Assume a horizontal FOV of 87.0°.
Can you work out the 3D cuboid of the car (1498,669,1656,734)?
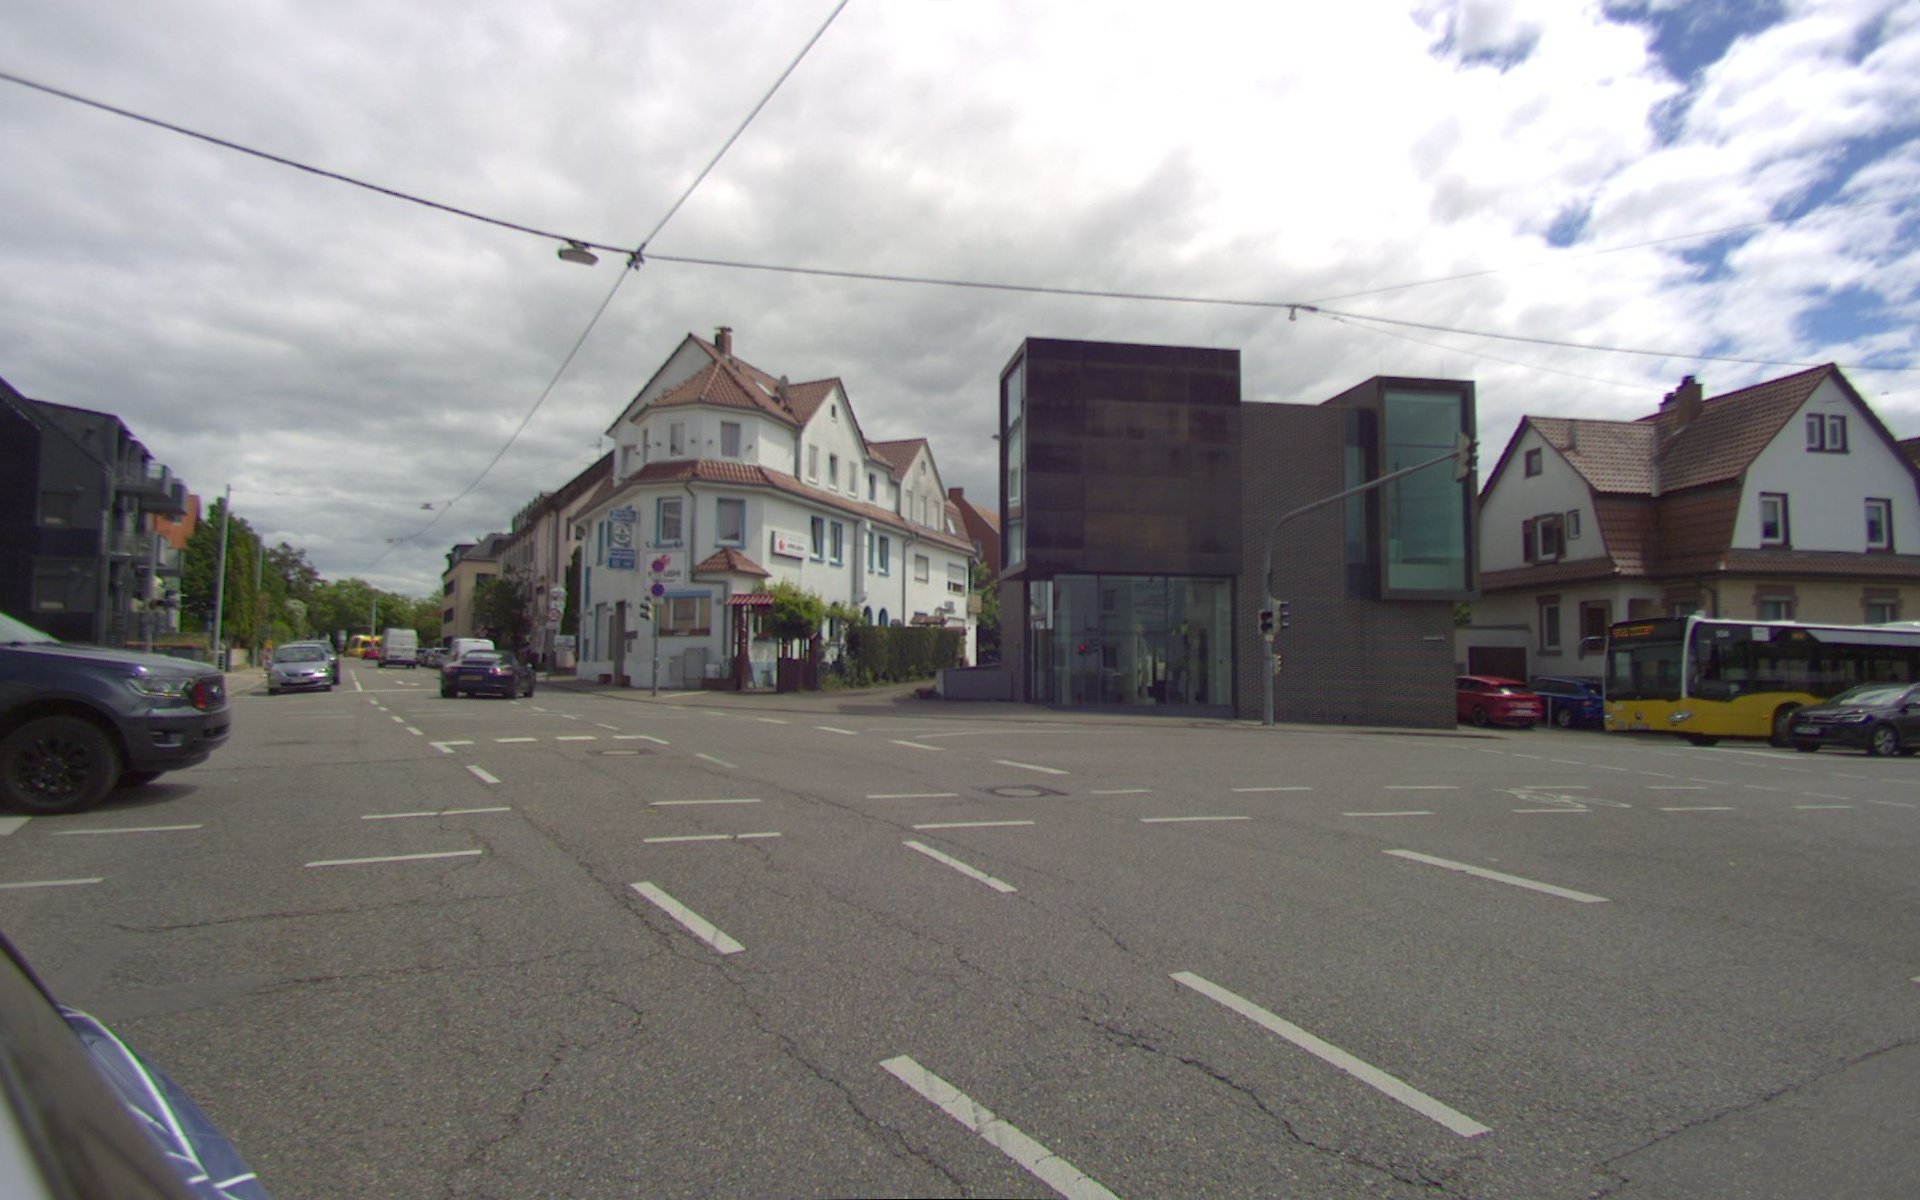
[{"bbox_3d":[19.037,3.108,31.467,1.967,1.697,4.009,2,-2,-12],"label":"car"}]

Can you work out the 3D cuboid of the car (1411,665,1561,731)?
[{"bbox_3d":[16.070,2.969,31.183,1.967,1.652,4.009,2,-1,-12],"label":"car"}]

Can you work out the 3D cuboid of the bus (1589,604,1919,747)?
[{"bbox_3d":[20.186,1.824,24.232,9.043,3.084,2.792,2,-3,-9],"label":"bus"}]

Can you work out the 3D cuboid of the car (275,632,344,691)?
[{"bbox_3d":[-24.016,2.255,37.414,1.966,2.029,4.011,3,-4,-32],"label":"car"}]

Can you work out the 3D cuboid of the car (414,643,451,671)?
[{"bbox_3d":[-39.485,4.253,75.751,1.966,2.029,4.010,3,-4,-34],"label":"car"}]

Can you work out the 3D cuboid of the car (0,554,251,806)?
[{"bbox_3d":[-8.766,0.578,7.763,5.130,1.863,1.894,3,-4,-25],"label":"car"}]

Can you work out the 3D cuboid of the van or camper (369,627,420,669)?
[{"bbox_3d":[-37.923,3.259,67.798,2.080,2.606,5.657,7,-7,-36],"label":"van or camper"}]

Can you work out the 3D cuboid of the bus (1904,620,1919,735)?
[{"bbox_3d":[29.220,2.065,25.568,9.043,2.937,2.792,2,-3,-9],"label":"bus"}]

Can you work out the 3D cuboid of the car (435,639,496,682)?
[{"bbox_3d":[-22.243,2.729,45.444,1.791,1.826,4.430,4,-5,-34],"label":"car"}]

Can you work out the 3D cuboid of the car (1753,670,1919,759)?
[{"bbox_3d":[18.838,2.303,20.608,3.937,1.652,2.003,2,-3,-7],"label":"car"}]

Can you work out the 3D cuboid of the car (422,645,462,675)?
[{"bbox_3d":[-36.599,4.218,71.411,1.966,2.029,4.010,3,-4,-34],"label":"car"}]

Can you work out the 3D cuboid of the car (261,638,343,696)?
[{"bbox_3d":[-20.781,2.094,32.063,1.966,1.697,4.011,3,-4,-32],"label":"car"}]

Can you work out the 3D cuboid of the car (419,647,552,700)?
[{"bbox_3d":[-12.765,1.966,27.540,1.969,1.292,4.309,2,-3,-6],"label":"car"}]
